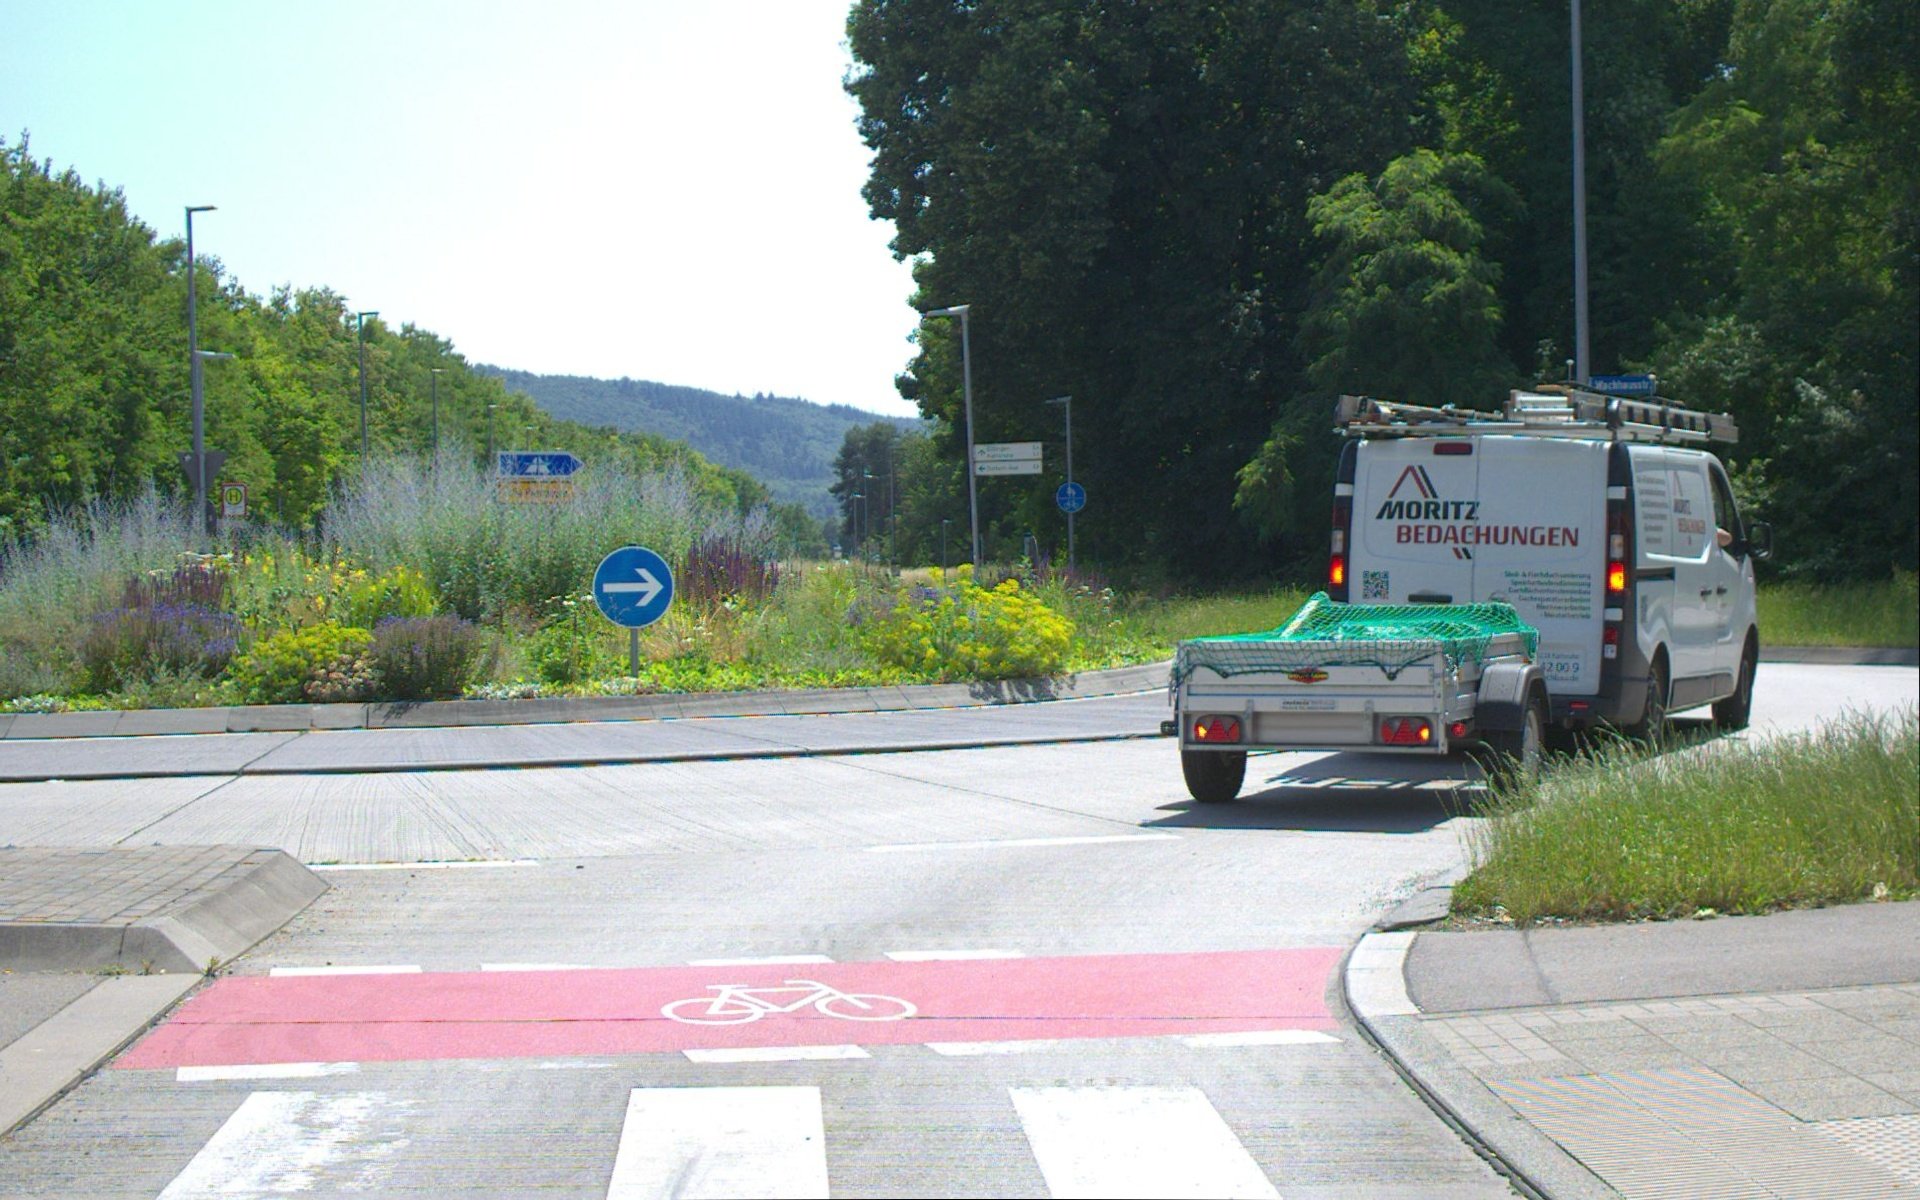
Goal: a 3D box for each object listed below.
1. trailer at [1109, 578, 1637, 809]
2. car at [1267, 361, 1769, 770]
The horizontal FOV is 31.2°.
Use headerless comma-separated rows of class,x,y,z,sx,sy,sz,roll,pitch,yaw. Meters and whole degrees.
trailer,2.290,0.437,18.269,2.123,1.093,3.351,0,0,19
car,3.729,-0.212,22.114,2.168,2.308,4.976,0,0,22
